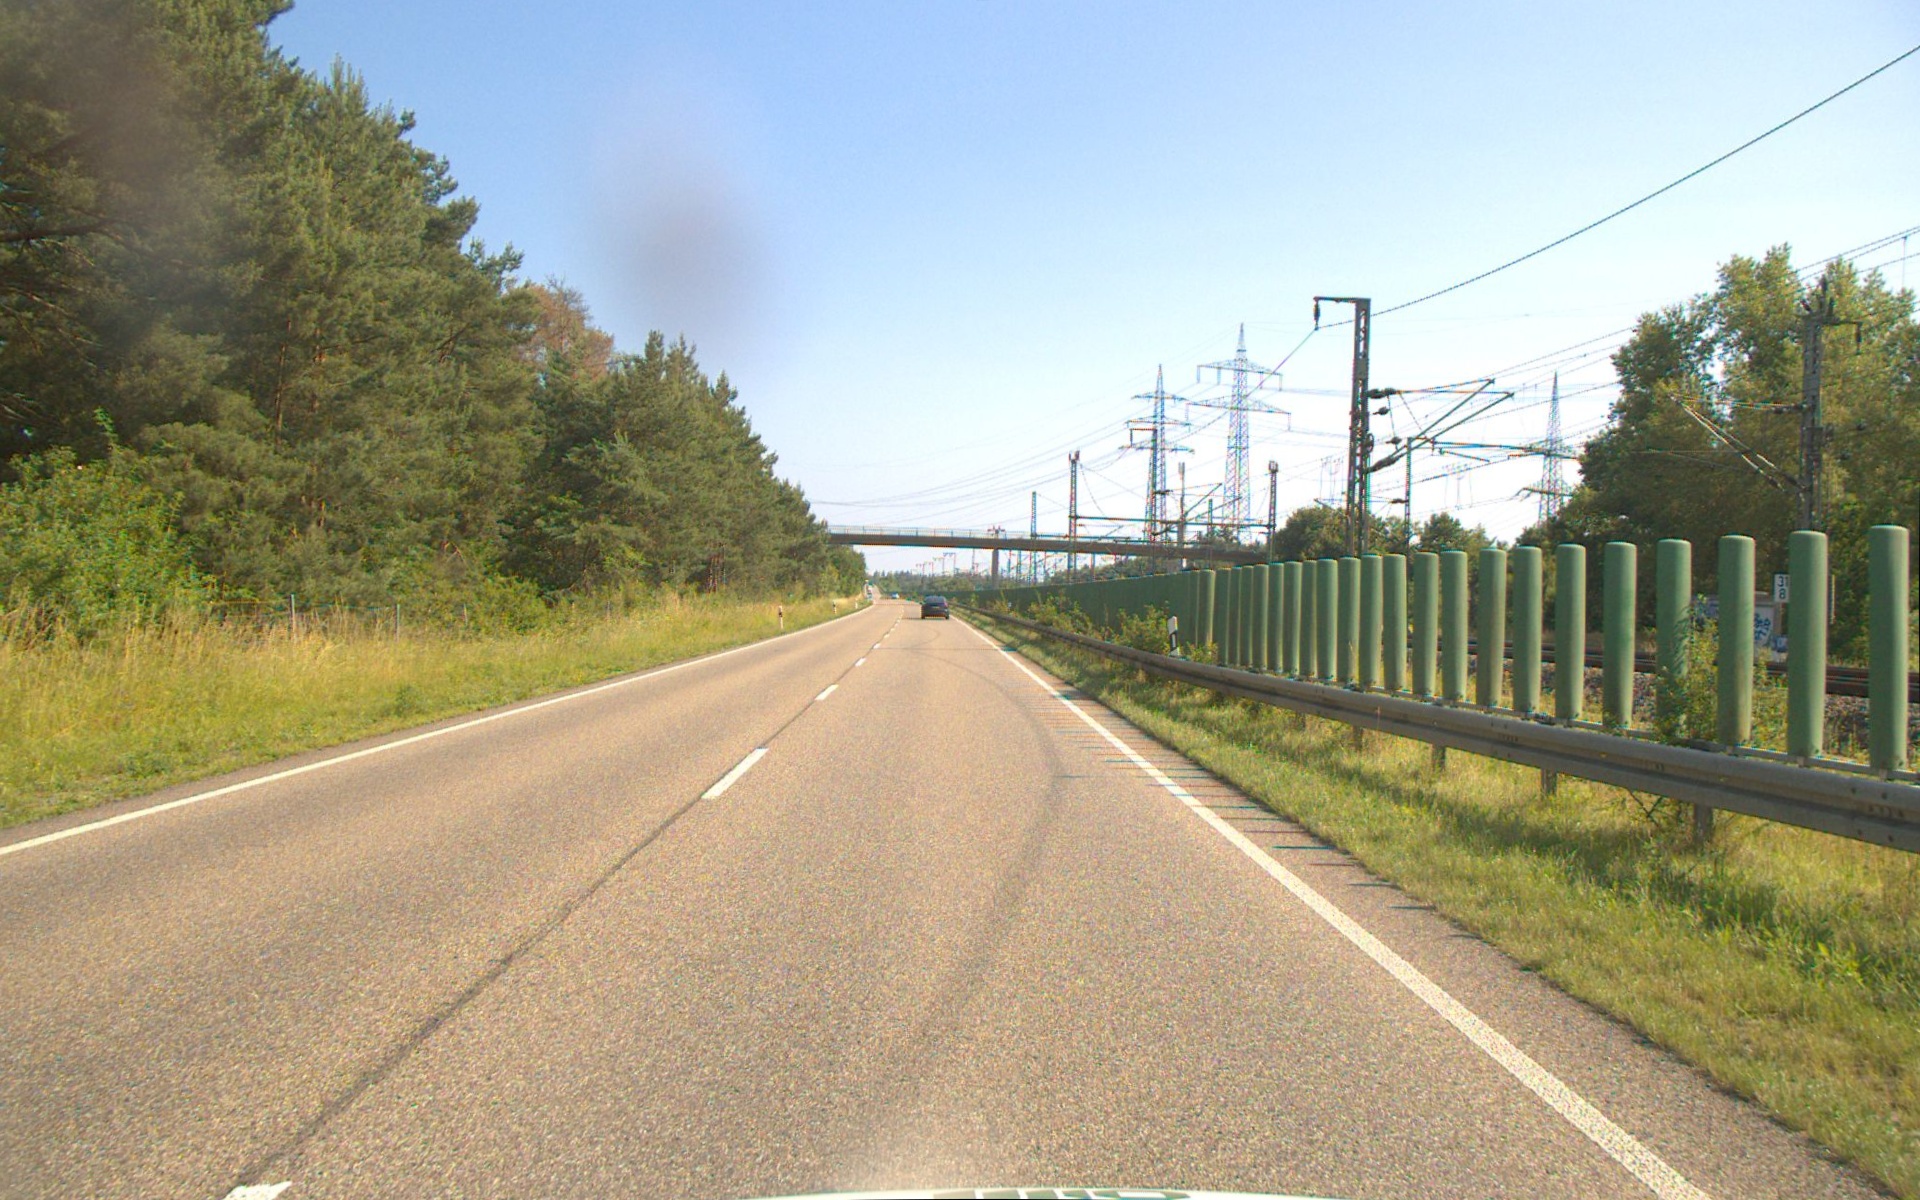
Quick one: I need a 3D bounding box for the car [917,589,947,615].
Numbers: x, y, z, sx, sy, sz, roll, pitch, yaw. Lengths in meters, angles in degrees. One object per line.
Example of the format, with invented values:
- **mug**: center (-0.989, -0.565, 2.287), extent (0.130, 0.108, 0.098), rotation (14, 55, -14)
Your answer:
- **car**: center (-1.850, 0.125, 107.484), extent (1.822, 1.670, 3.998), rotation (-1, 0, -3)
